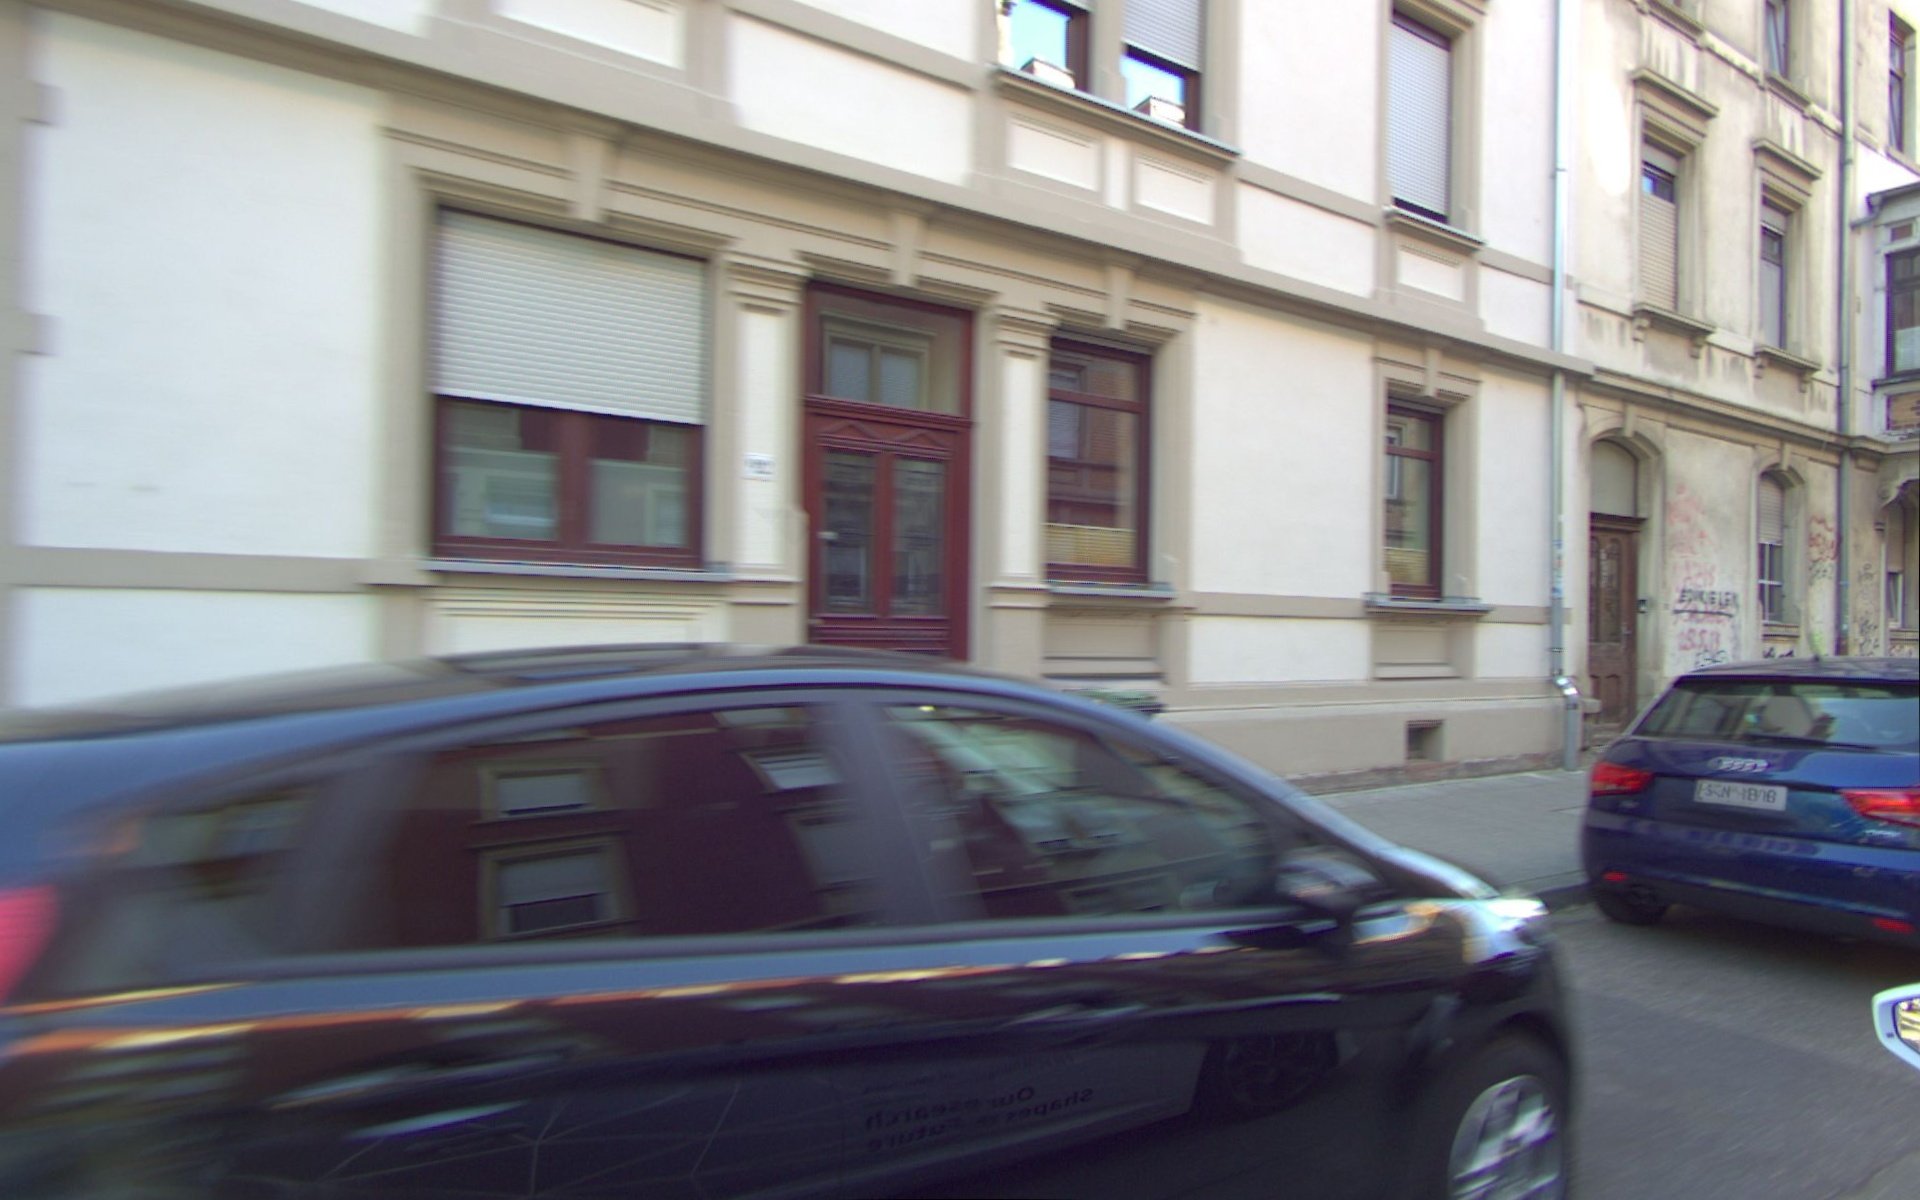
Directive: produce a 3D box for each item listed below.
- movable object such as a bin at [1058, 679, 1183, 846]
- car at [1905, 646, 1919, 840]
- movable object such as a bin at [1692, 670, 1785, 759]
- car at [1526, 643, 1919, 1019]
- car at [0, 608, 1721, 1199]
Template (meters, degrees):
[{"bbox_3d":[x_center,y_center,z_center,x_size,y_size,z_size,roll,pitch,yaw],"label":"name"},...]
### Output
[{"bbox_3d":[1.040,1.026,6.553,0.505,0.968,0.618,2,0,-30],"label":"movable object such as a bin"},{"bbox_3d":[9.298,1.090,7.974,3.795,1.474,1.635,2,-4,-31],"label":"car"},{"bbox_3d":[8.803,1.275,11.368,0.725,0.932,0.609,2,-1,-30],"label":"movable object such as a bin"},{"bbox_3d":[4.974,0.975,5.454,3.701,1.422,1.772,2,-1,-32],"label":"car"},{"bbox_3d":[-0.123,0.807,2.370,3.698,1.502,1.773,2,-1,-30],"label":"car"}]
